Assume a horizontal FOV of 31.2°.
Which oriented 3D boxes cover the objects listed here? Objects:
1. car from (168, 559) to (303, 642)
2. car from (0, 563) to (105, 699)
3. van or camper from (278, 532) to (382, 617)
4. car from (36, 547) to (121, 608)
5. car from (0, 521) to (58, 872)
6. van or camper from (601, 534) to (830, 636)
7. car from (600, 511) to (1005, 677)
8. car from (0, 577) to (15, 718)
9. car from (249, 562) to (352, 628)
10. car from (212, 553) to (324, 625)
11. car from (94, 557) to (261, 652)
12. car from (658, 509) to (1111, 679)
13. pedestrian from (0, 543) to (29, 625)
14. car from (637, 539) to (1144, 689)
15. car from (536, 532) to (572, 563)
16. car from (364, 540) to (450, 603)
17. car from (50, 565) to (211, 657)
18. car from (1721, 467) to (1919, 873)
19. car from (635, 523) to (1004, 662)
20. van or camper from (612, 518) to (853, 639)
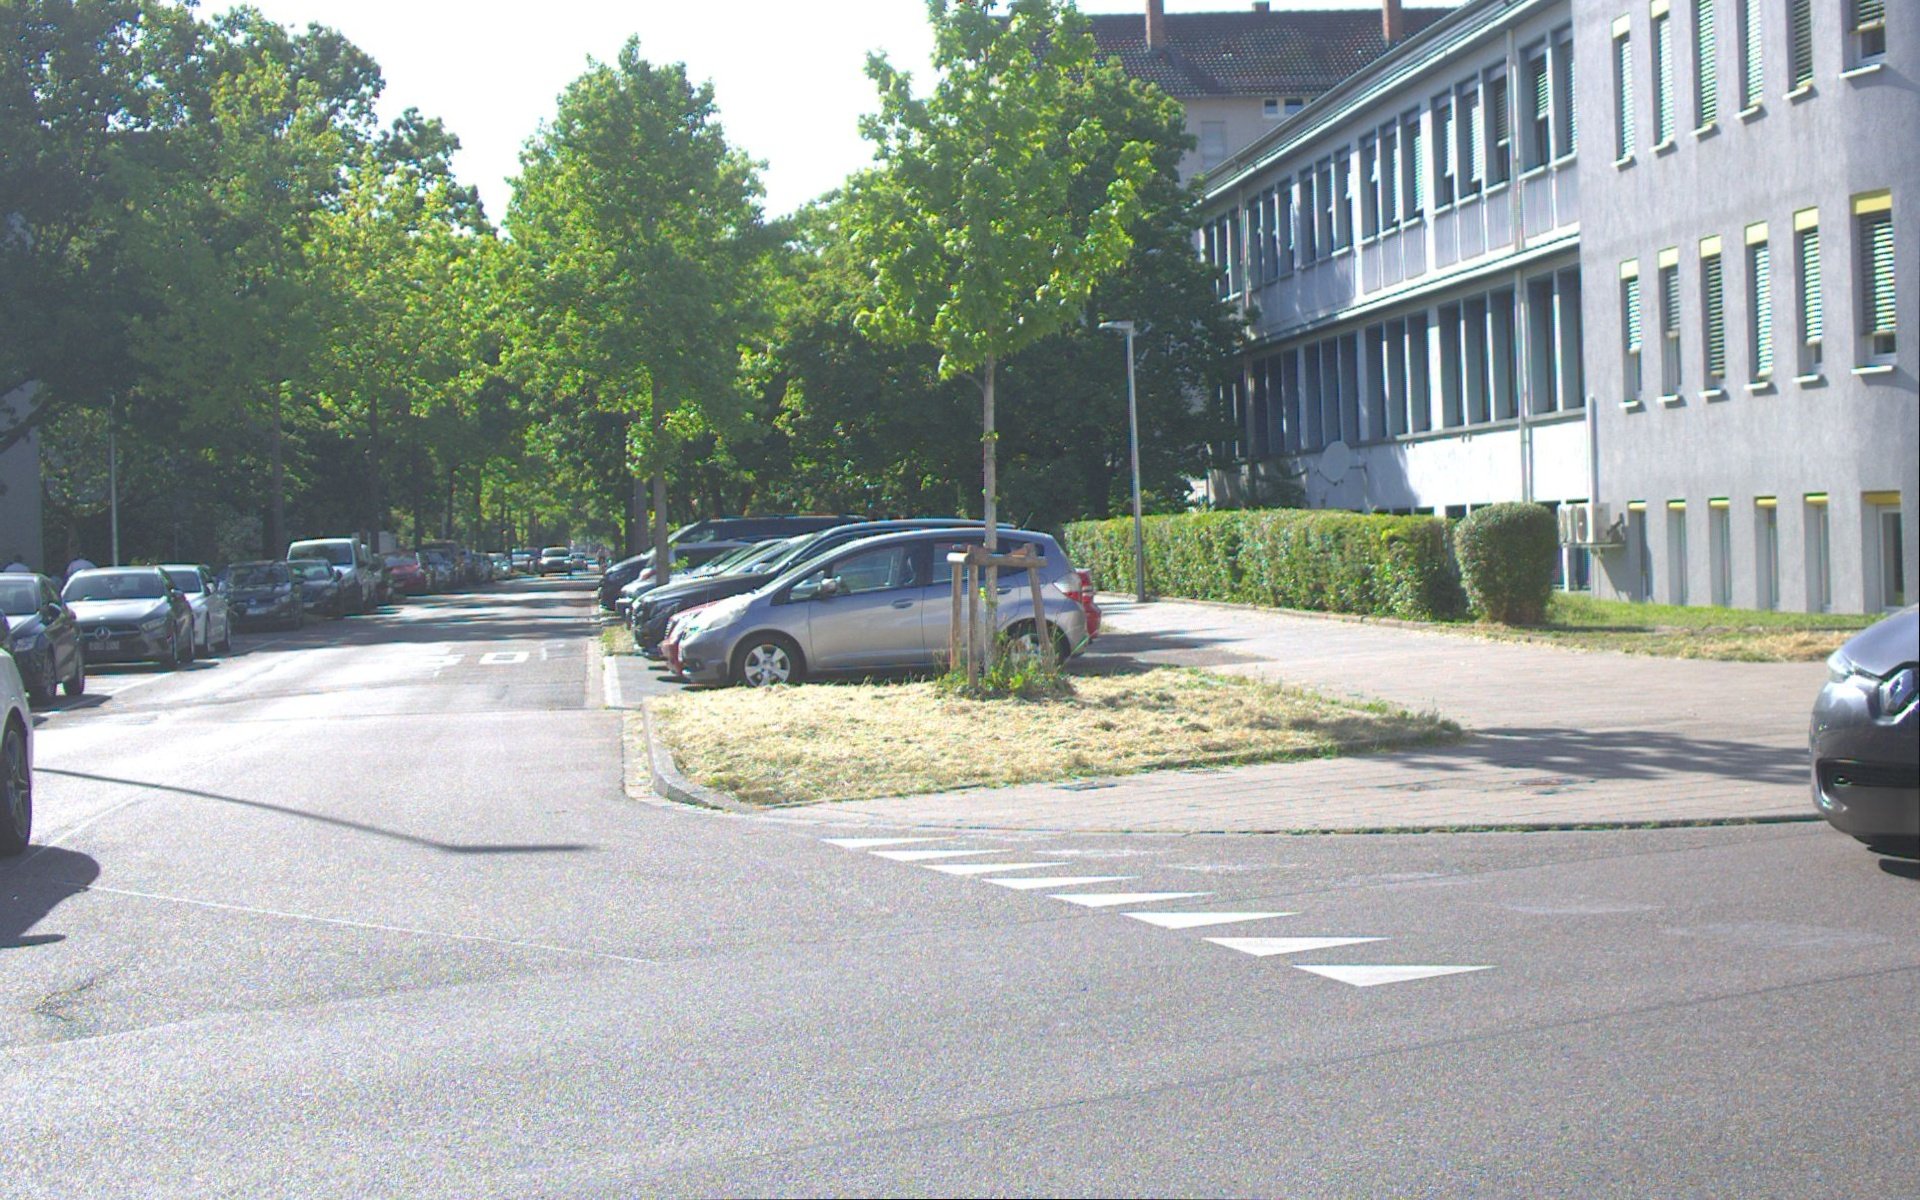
[{"bbox_3d":[-12.901,-0.003,61.402,1.842,1.393,4.001,-2,1,-5],"label":"car"},{"bbox_3d":[-10.517,0.318,38.165,1.405,1.371,4.001,-2,1,-6],"label":"car"},{"bbox_3d":[-15.346,-0.607,83.906,1.993,2.007,4.000,0,0,-3],"label":"van or camper"},{"bbox_3d":[-18.943,-0.506,73.943,1.274,1.221,2.663,-2,1,-4],"label":"car"},{"bbox_3d":[-5.083,0.533,14.024,1.885,1.499,4.640,-4,3,-5],"label":"car"},{"bbox_3d":[-4.368,-0.261,61.071,3.986,1.766,2.000,0,0,-6],"label":"van or camper"},{"bbox_3d":[-1.774,-0.068,37.819,4.278,1.758,2.000,0,0,-8],"label":"car"},{"bbox_3d":[-10.297,0.479,33.310,1.667,1.415,4.001,0,0,-8],"label":"car"},{"bbox_3d":[-14.888,-0.123,77.796,1.842,1.393,4.001,-2,1,-5],"label":"car"},{"bbox_3d":[-14.056,-0.229,69.981,1.993,1.403,3.909,0,0,-8],"label":"car"},{"bbox_3d":[-12.261,0.051,54.098,1.993,1.393,4.001,-2,1,-5],"label":"car"},{"bbox_3d":[-0.752,-0.067,32.656,4.087,1.487,1.729,-1,0,-8],"label":"car"},{"bbox_3d":[-19.494,-0.323,70.589,0.634,1.659,0.700,-2,1,-11],"label":"pedestrian"},{"bbox_3d":[-0.738,0.123,34.707,4.868,1.270,1.729,-2,1,-10],"label":"car"},{"bbox_3d":[-23.865,-3.120,202.115,1.993,1.741,4.001,-2,1,-6],"label":"car"},{"bbox_3d":[-17.861,-0.923,111.226,1.993,2.007,4.000,0,0,2],"label":"car"},{"bbox_3d":[-11.587,0.136,48.233,1.629,1.230,4.193,0,0,-5],"label":"car"},{"bbox_3d":[5.254,0.225,13.861,4.124,1.499,1.843,-1,1,-31],"label":"car"},{"bbox_3d":[-1.700,-0.090,40.660,4.203,1.590,2.000,0,0,-7],"label":"car"},{"bbox_3d":[-3.886,-0.361,58.291,3.986,2.007,2.000,0,0,-6],"label":"van or camper"}]
